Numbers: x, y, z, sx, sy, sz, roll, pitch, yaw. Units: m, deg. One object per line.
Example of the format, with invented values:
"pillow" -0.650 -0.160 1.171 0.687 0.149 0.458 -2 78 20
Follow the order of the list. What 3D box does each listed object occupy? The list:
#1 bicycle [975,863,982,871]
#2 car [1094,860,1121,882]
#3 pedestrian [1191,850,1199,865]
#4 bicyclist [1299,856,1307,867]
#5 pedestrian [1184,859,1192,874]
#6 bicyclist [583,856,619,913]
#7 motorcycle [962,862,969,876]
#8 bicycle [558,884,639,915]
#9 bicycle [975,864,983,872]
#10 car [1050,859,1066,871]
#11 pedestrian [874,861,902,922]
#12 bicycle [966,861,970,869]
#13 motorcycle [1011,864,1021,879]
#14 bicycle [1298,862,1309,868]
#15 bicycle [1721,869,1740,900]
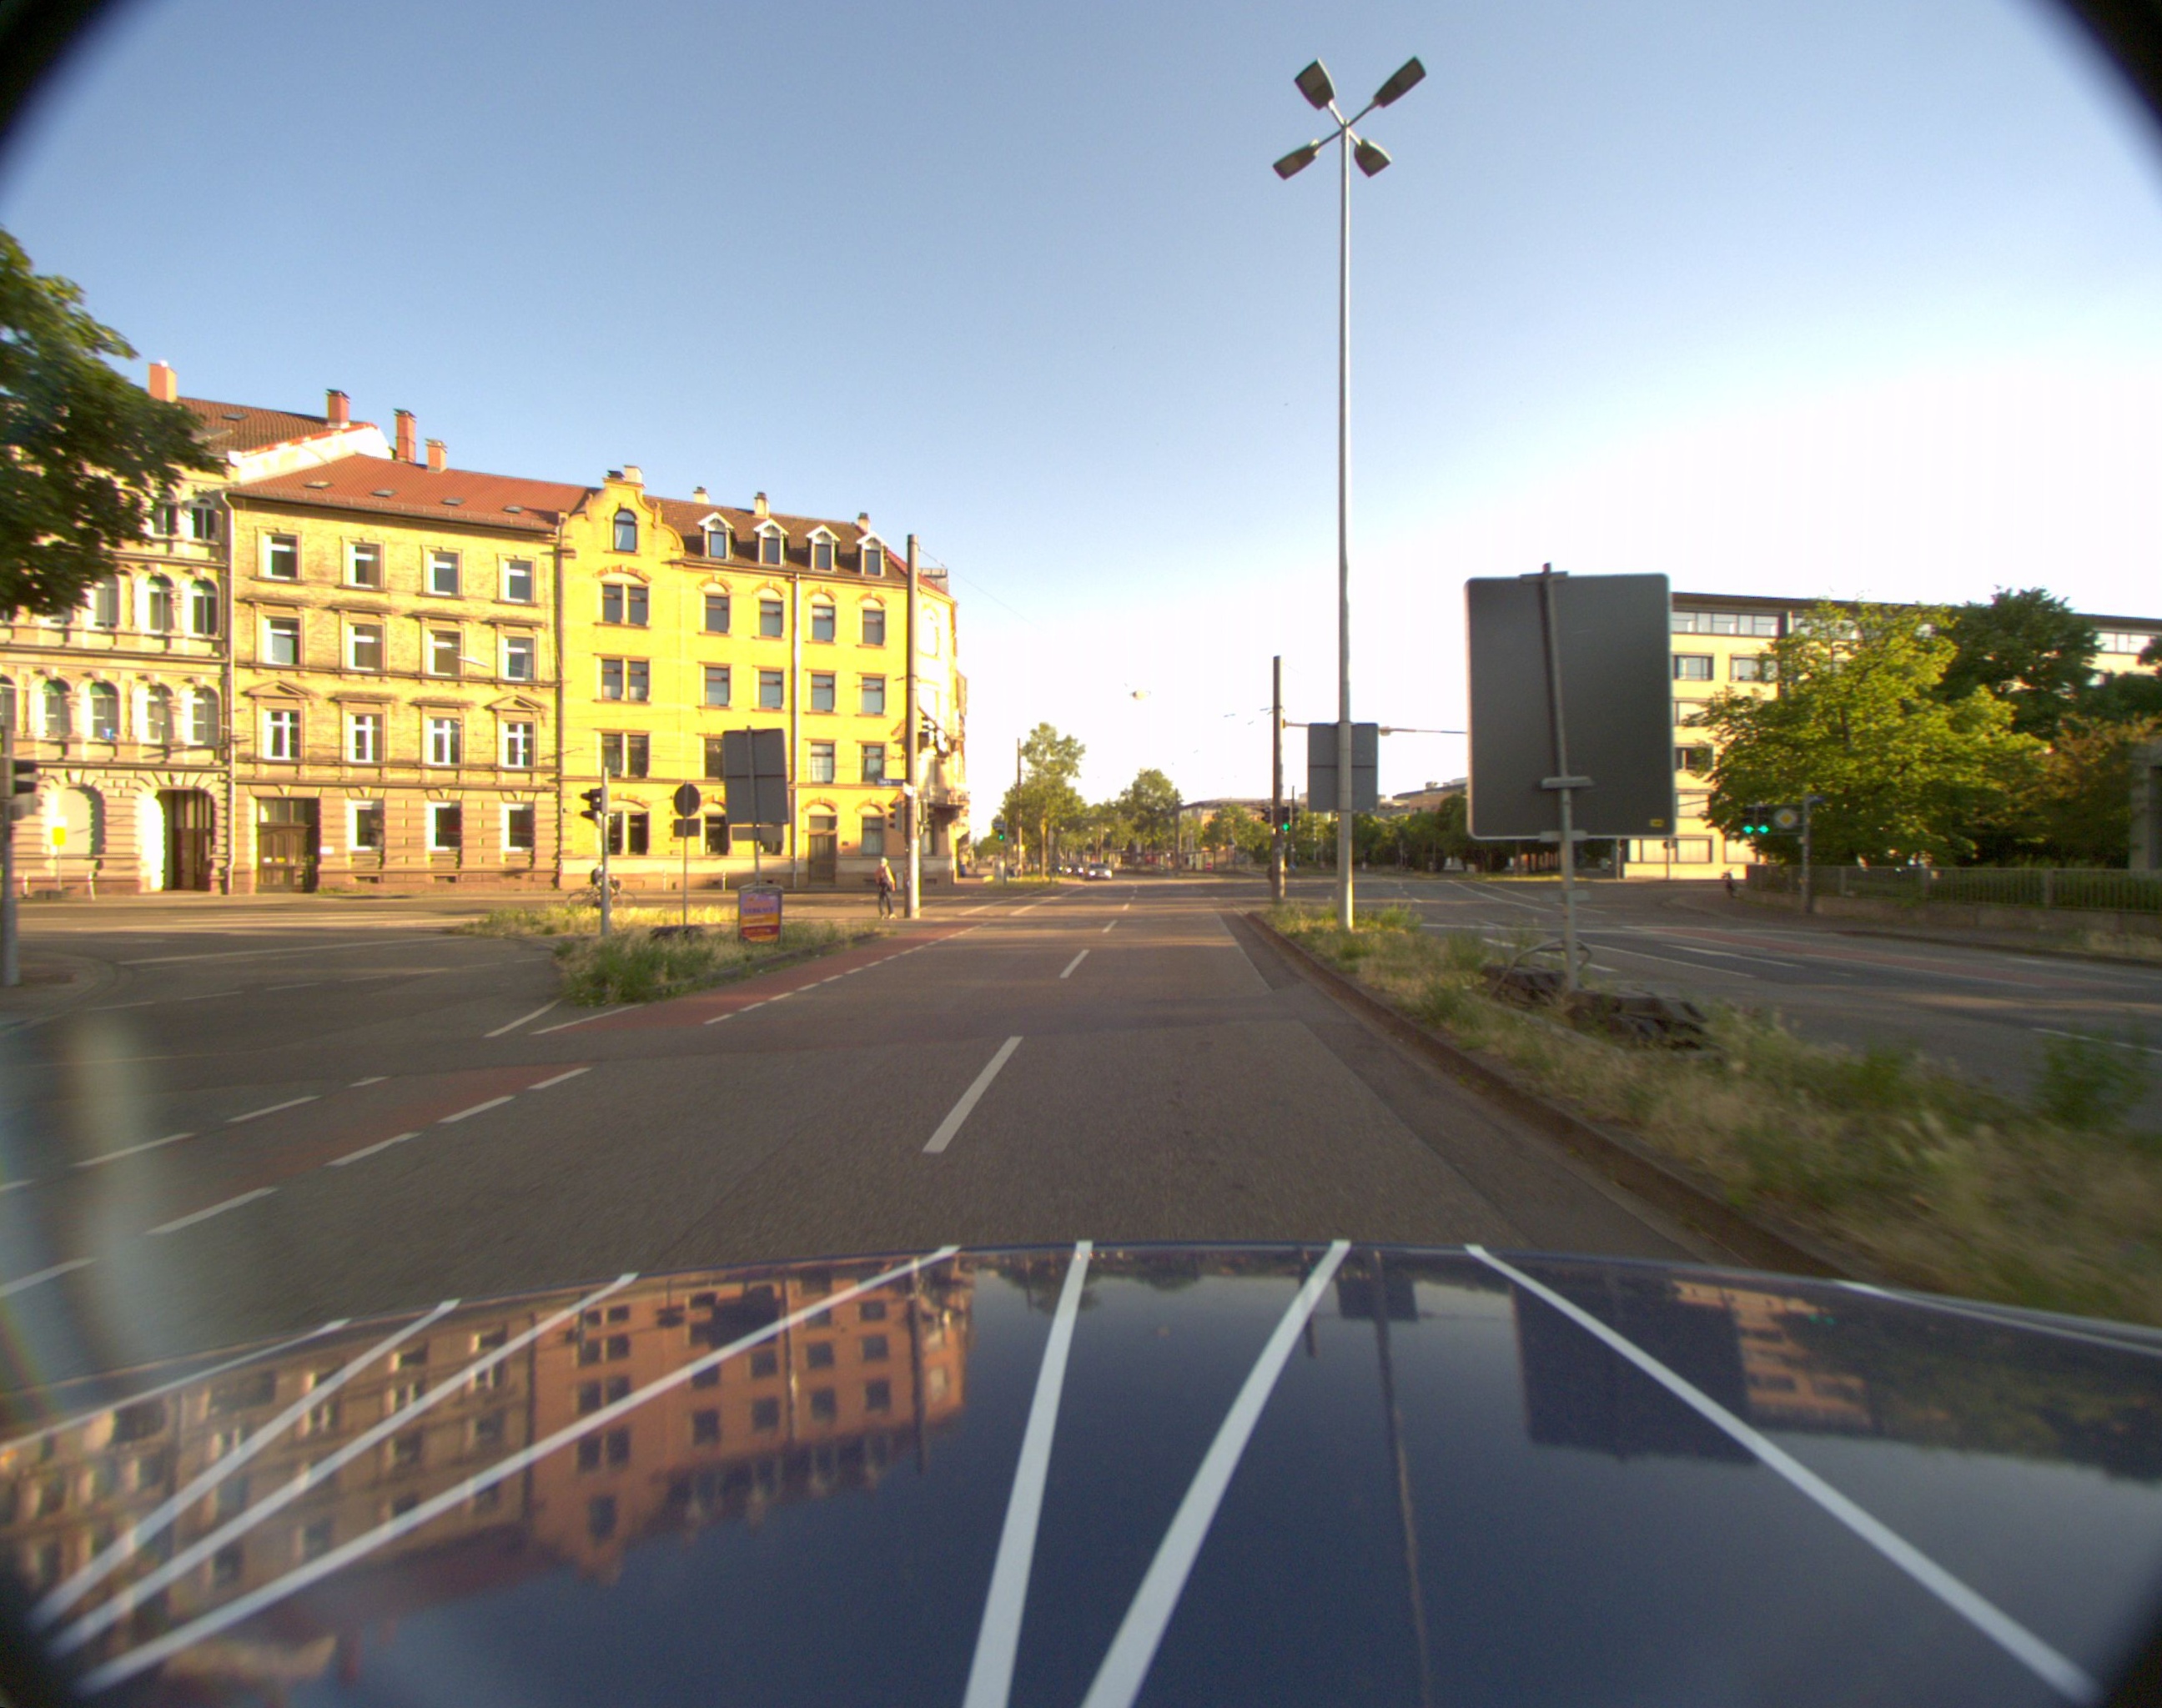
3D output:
"bicycle" -13.208 1.663 97.676 0.736 0.942 2.338 1 0 -4
"car" 2.155 1.370 62.507 1.999 1.655 3.999 0 0 -1
"pedestrian" 15.203 0.501 101.157 0.772 2.002 1.126 0 0 -6
"bicyclist" 30.380 0.985 103.799 0.770 1.459 0.827 0 0 -5
"pedestrian" 14.287 1.676 101.701 0.772 2.002 1.126 0 0 -6
"bicyclist" -13.572 0.857 21.484 0.696 1.574 0.636 0 1 -16
"motorcycle" -10.019 1.301 66.071 0.555 1.207 2.071 -2 0 -9
"bicycle" -13.602 1.275 21.478 1.816 0.824 0.621 0 0 -17
"bicycle" -12.735 1.780 95.163 0.875 0.910 2.083 1 0 -6
"car" -3.094 1.452 102.218 1.999 1.655 3.999 0 0 -1
"pedestrian" -5.230 0.995 20.627 0.553 1.619 0.700 0 0 2
"bicycle" -16.764 1.630 112.353 0.485 1.158 1.745 5 -1 -7
"motorcycle" -4.684 1.279 54.941 0.606 1.038 1.744 0 0 -1
"bicycle" 30.382 1.493 103.775 0.776 0.816 1.965 0 0 -5
"bicycle" 25.216 1.167 29.485 0.557 1.135 1.726 0 0 41
